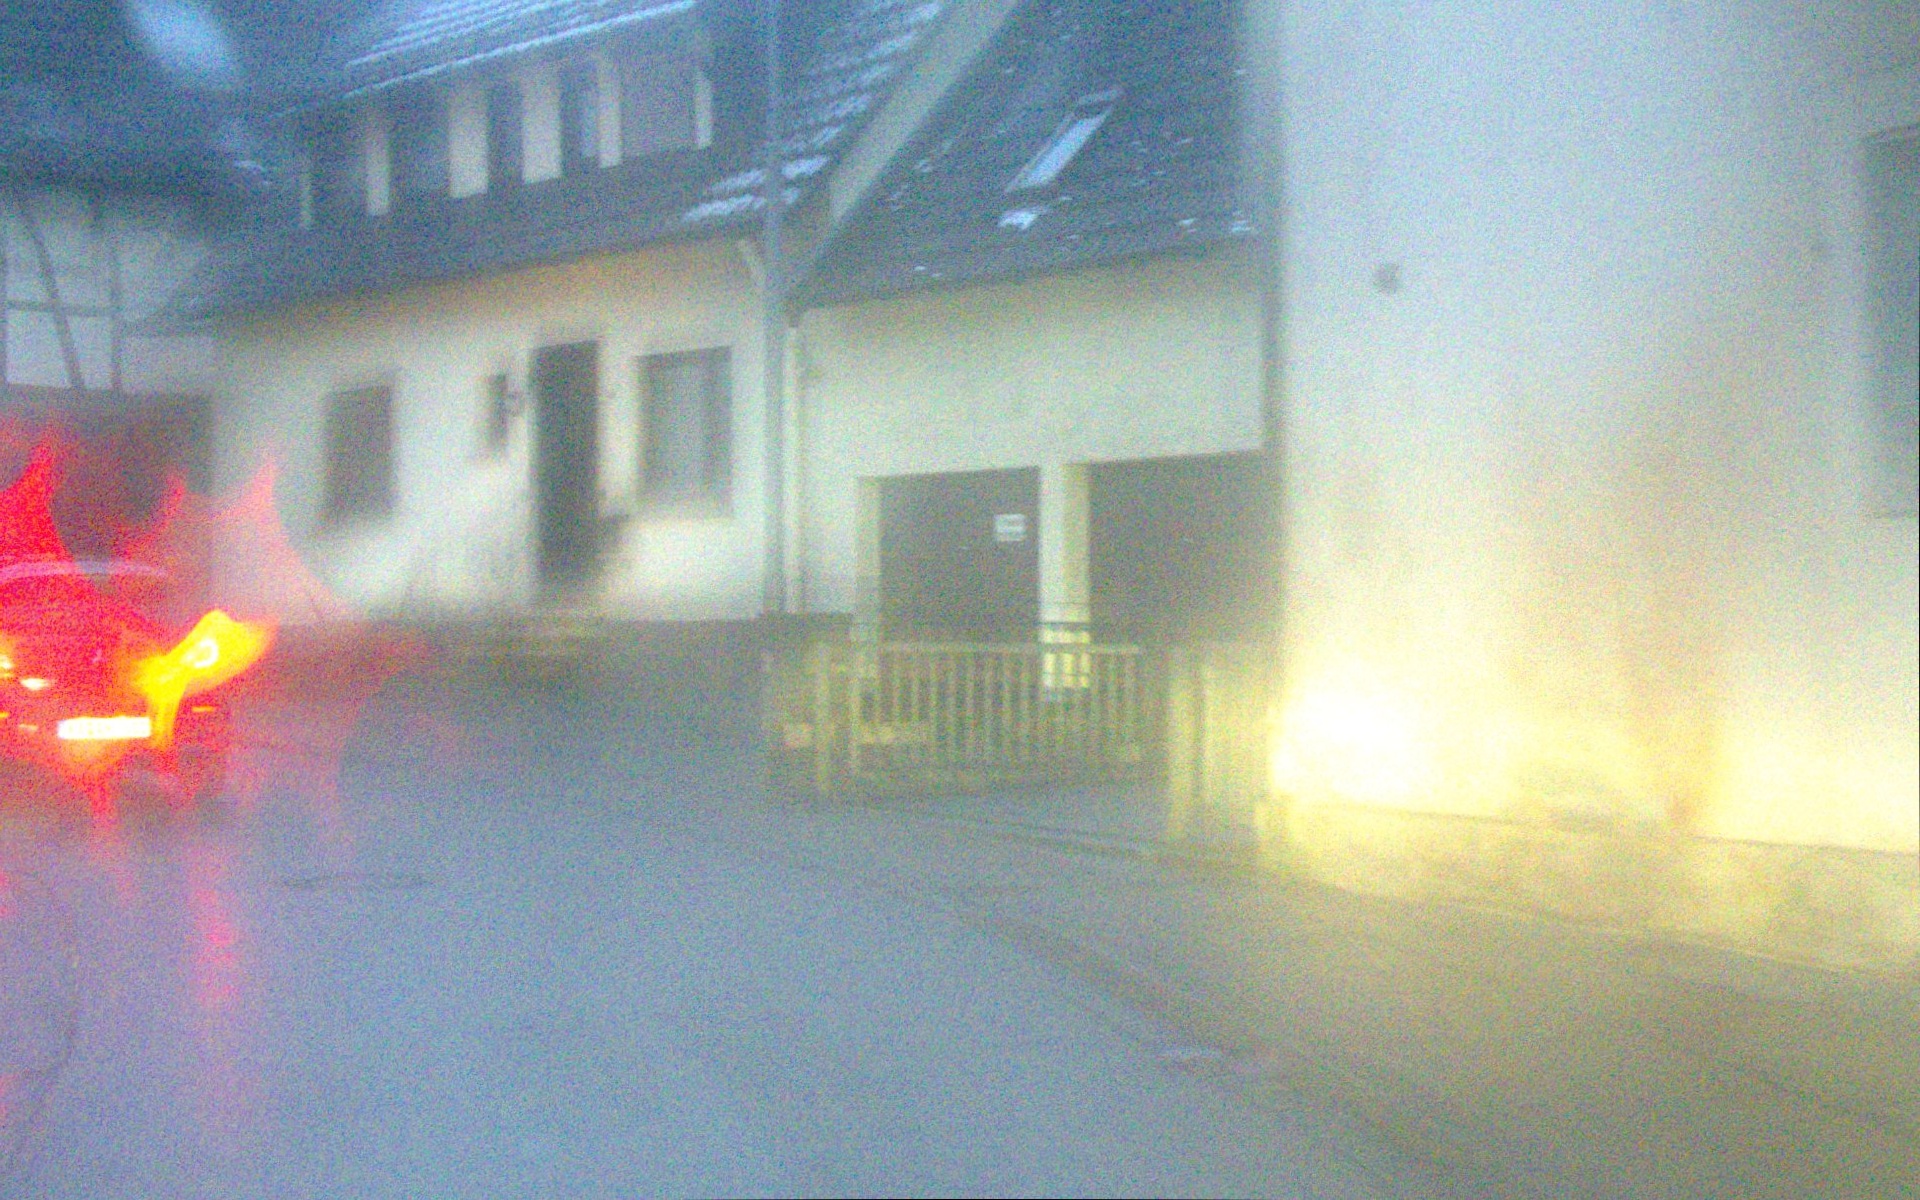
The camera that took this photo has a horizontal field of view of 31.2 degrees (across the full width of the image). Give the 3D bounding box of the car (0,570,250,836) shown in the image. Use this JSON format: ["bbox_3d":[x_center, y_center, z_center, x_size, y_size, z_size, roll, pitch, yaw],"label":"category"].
[{"bbox_3d":[-5.605,0.557,20.923,1.546,1.461,3.699,1,0,-28],"label":"car"}]
